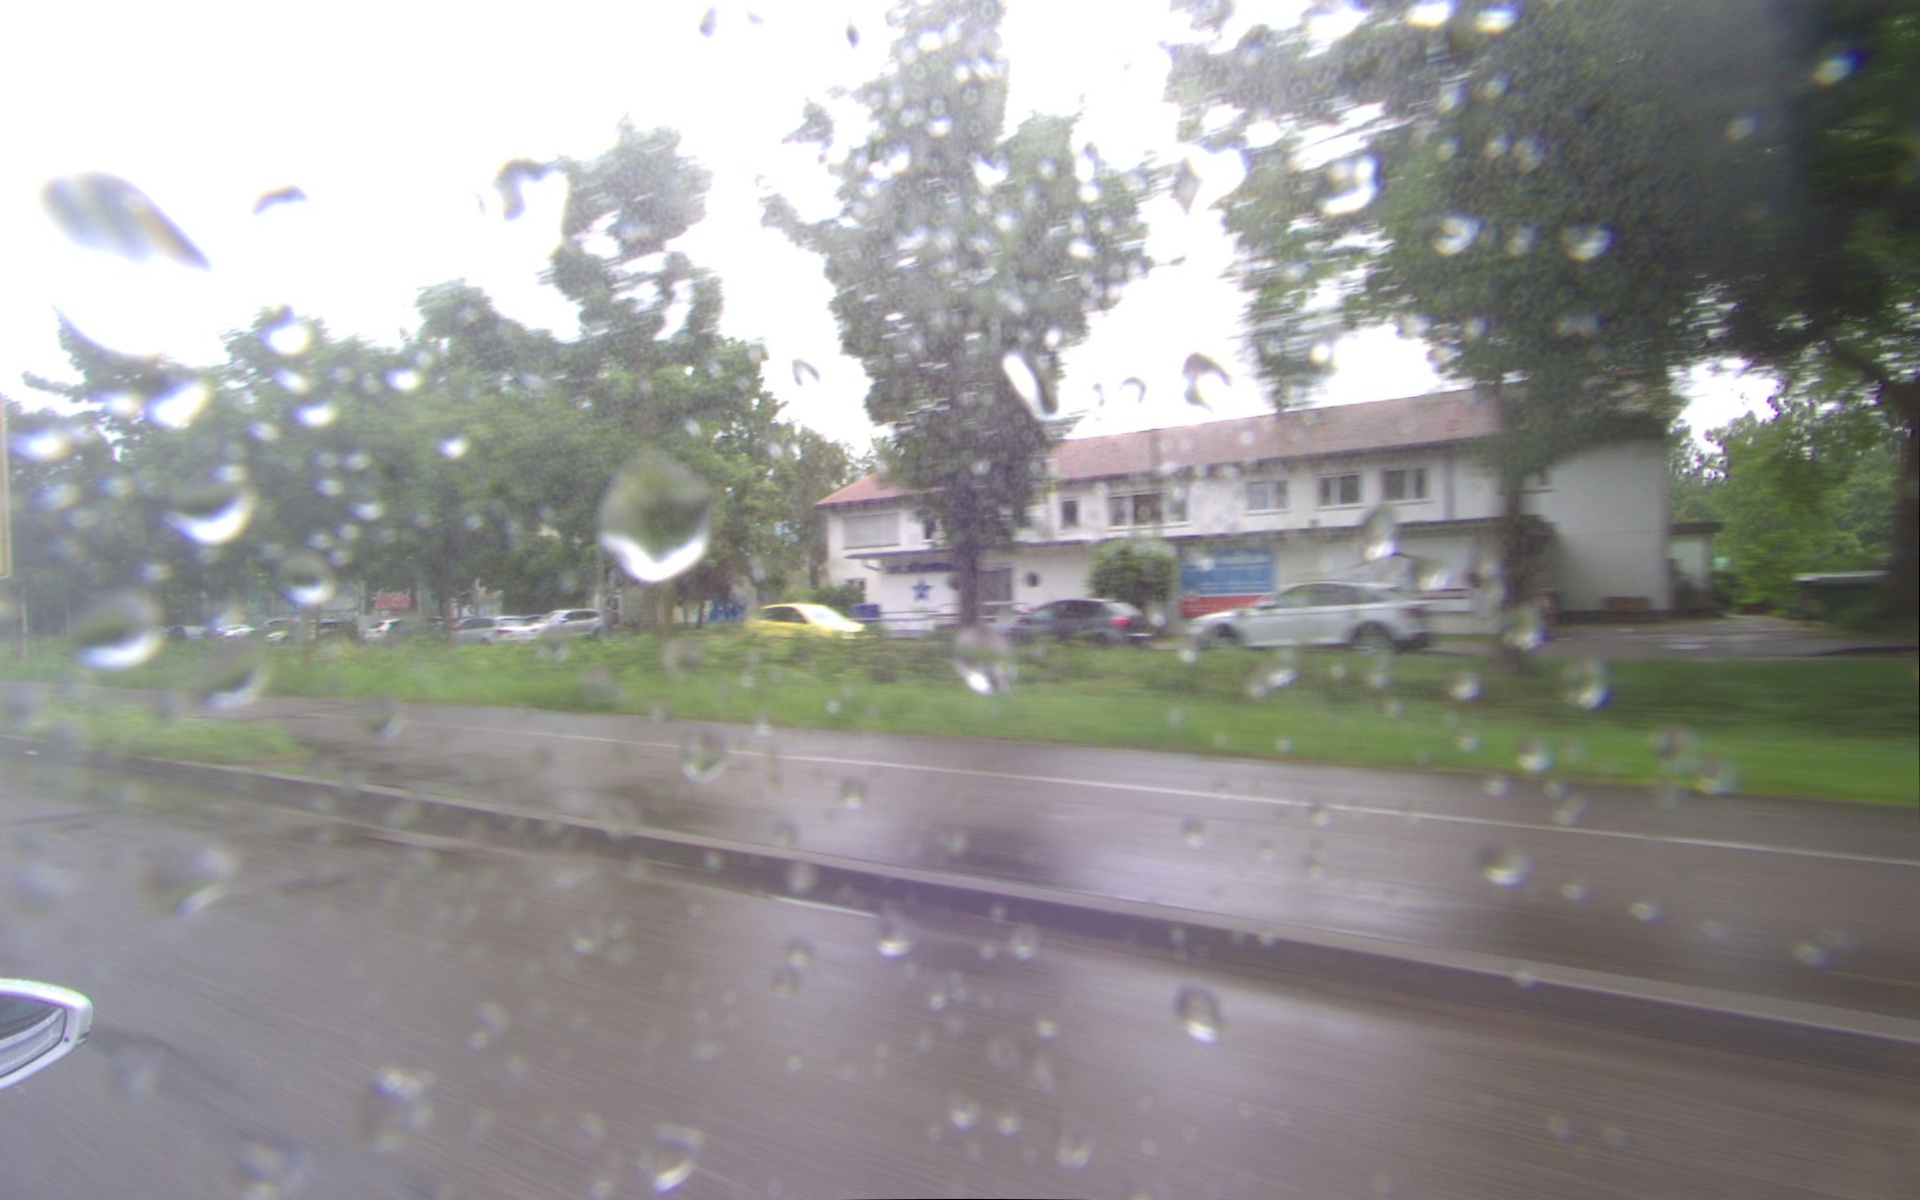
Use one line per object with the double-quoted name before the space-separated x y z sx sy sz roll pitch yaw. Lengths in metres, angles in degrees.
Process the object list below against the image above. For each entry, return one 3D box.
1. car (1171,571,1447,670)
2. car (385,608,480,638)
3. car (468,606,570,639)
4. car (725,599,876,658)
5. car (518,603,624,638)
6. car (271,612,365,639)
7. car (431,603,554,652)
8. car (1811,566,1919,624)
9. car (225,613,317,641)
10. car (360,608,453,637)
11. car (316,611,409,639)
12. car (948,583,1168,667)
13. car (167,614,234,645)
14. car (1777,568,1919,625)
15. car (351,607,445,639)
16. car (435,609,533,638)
"car" 6.821 0.409 19.729 4.810 1.740 1.989 -2 0 32
"car" -27.851 1.223 52.981 1.765 1.478 4.122 -2 -2 33
"car" -21.626 1.123 49.269 1.917 1.503 4.329 -2 -2 30
"car" -4.384 0.800 27.311 4.015 1.505 1.634 -2 -2 32
"car" -17.874 0.977 46.162 1.896 1.522 4.329 -2 -2 30
"car" -39.642 1.592 61.908 1.921 1.577 4.554 -2 -2 37
"car" -17.066 1.006 36.519 4.579 1.647 1.988 -2 0 34
"car" 22.926 -0.123 23.962 3.649 1.332 1.569 -2 -2 32
"car" -44.436 1.738 64.686 1.971 1.727 4.564 -1 -2 30
"car" -30.245 1.247 54.790 1.735 1.503 4.184 -1 -2 30
"car" -35.197 1.471 59.107 1.917 1.577 4.329 -1 -2 30
"car" 2.202 0.567 22.909 4.576 1.740 1.989 -2 0 32
"car" -39.848 1.526 52.512 4.067 1.465 1.738 1 2 37
"car" 24.110 -0.079 26.273 3.943 1.403 1.581 -2 -2 32
"car" -32.159 1.357 57.410 1.917 1.747 4.329 -1 -2 30
"car" -23.934 1.191 50.514 1.840 1.357 4.174 -2 -2 30
